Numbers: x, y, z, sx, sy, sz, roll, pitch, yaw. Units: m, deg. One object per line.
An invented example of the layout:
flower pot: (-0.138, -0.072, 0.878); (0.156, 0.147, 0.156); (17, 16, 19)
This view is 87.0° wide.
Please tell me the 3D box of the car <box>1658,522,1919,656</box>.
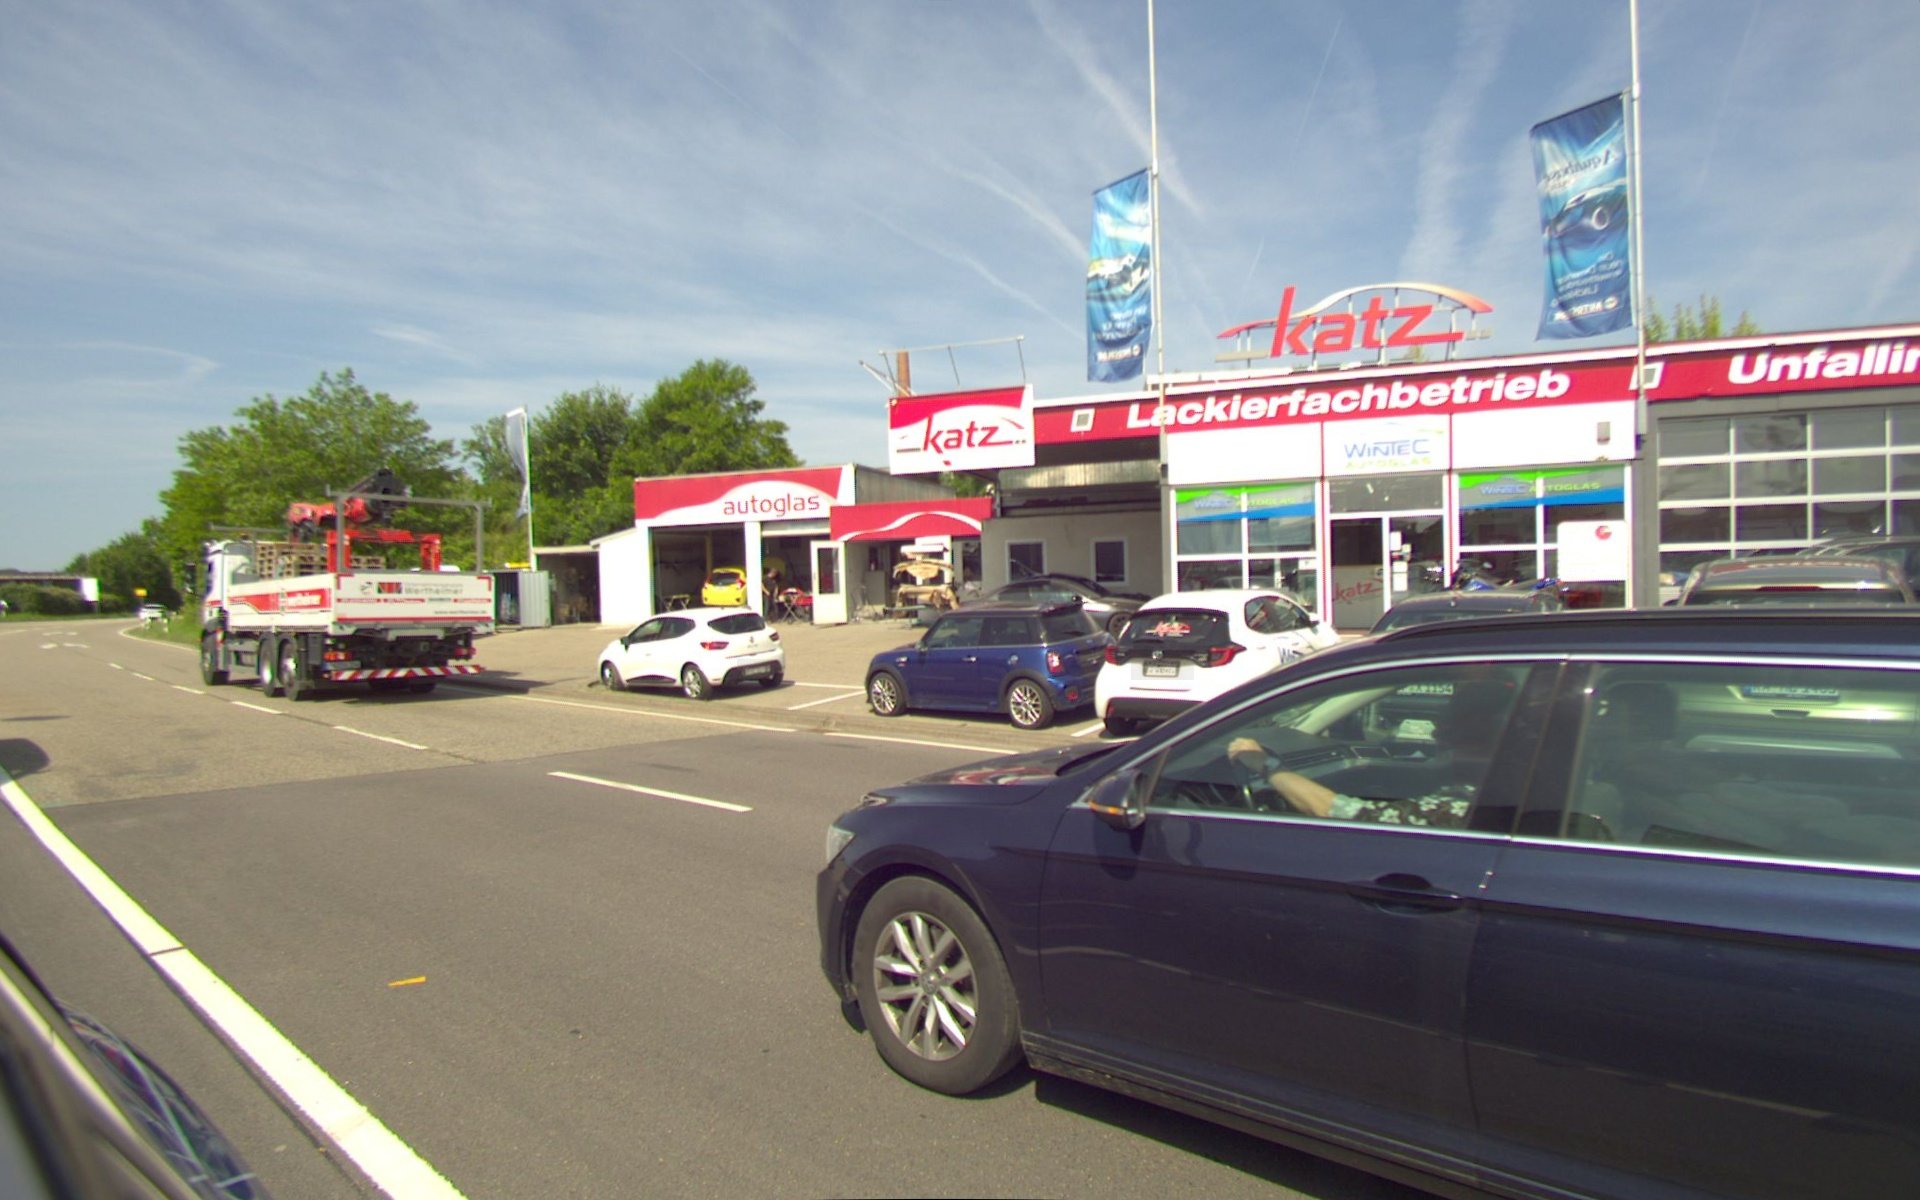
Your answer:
car: (12.578, -0.188, 14.234); (4.089, 1.686, 1.820); (0, 6, 15)

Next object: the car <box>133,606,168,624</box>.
car: (-74.779, 1.400, 93.524); (1.908, 1.687, 4.012); (1, -1, -30)

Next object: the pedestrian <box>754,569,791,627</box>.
pedestrian: (-5.928, -0.064, 31.987); (0.895, 1.775, 0.714); (0, 1, 44)

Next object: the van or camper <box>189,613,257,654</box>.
van or camper: (-30.517, 1.329, 41.849); (1.621, 1.535, 4.470); (-3, 2, -44)

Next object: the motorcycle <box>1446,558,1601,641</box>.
motorcycle: (9.003, 0.011, 16.268); (2.039, 1.271, 0.767); (-1, 0, 20)

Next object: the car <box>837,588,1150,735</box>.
car: (0.352, 0.704, 13.240); (3.781, 1.504, 1.761); (-1, 4, 42)

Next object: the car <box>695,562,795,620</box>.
car: (-7.400, -0.354, 35.153); (1.725, 1.737, 3.650); (-2, 3, 18)

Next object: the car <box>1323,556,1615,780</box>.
car: (5.023, 0.479, 9.717); (1.790, 1.536, 3.674); (-1, 4, 38)

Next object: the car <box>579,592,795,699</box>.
car: (-4.874, 0.726, 17.786); (3.999, 1.630, 1.760); (-1, 1, 42)

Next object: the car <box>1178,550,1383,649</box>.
car: (6.352, -0.030, 20.357); (3.727, 1.772, 1.696); (-2, 3, 16)

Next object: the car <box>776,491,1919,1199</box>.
car: (1.629, 0.621, 2.648); (4.384, 1.571, 1.788); (-1, -1, 40)

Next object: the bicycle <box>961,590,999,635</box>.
bicycle: (0.547, 0.314, 27.007); (0.412, 0.978, 1.987); (-1, 5, 19)

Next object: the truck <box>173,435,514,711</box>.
truck: (-12.722, -0.303, 20.222); (10.644, 4.241, 2.924); (-1, -2, 42)

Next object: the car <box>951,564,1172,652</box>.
car: (2.205, 0.166, 21.716); (4.360, 1.515, 1.849); (-4, 2, 18)

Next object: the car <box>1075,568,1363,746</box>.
car: (3.133, 0.519, 11.720); (1.844, 1.536, 3.761); (-1, 3, 38)

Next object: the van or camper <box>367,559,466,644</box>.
van or camper: (-18.663, 0.039, 34.614); (2.126, 2.517, 5.965); (-6, 3, -35)

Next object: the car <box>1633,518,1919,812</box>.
car: (6.650, 0.305, 8.088); (1.804, 1.729, 3.850); (-1, 4, 38)
